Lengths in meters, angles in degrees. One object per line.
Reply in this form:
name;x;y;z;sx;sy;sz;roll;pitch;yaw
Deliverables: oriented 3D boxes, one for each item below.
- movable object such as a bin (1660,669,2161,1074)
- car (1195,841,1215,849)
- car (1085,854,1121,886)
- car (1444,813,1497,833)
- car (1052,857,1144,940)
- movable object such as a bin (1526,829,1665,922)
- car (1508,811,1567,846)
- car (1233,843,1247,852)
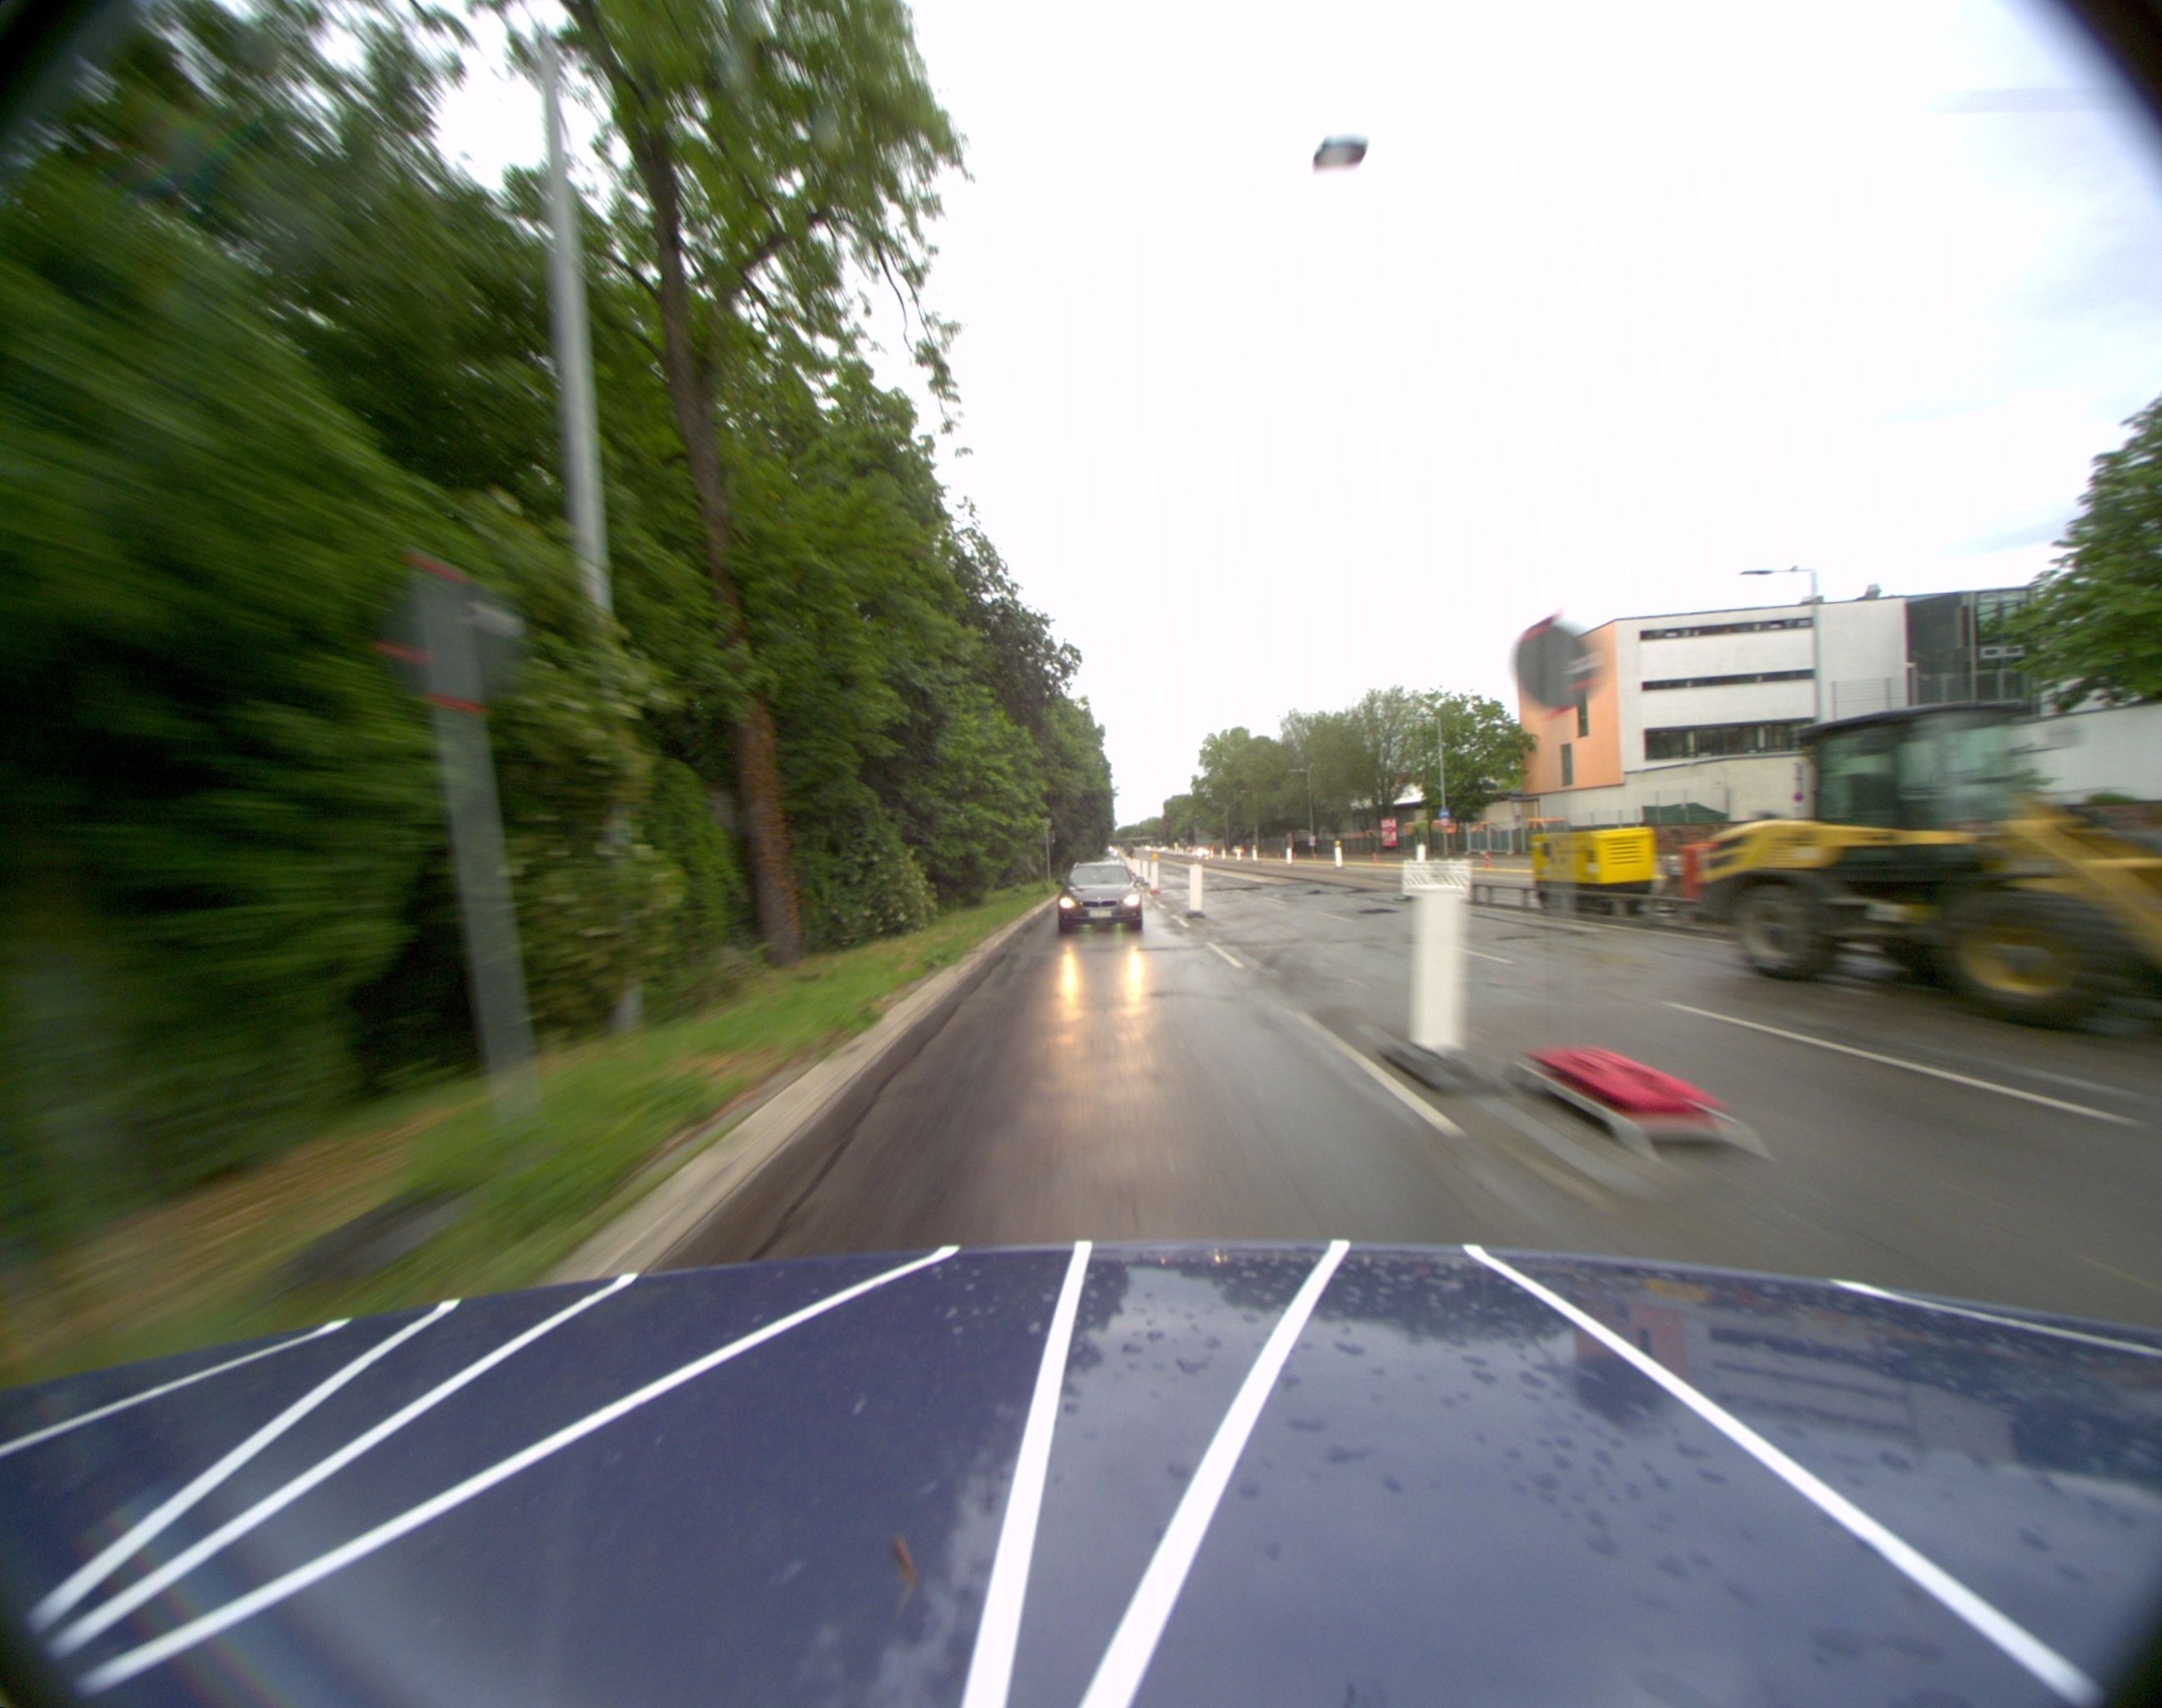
movable object such as a bin;7.945;0.071;6.534;1.906;2.594;5.383;-3;0;2
car;26.941;-1.980;165.547;1.868;1.620;4.318;-2;1;-31
car;1.225;0.793;40.635;1.742;1.454;4.458;-4;1;3
car;36.670;-2.911;71.587;4.012;1.519;2.004;-3;1;41
car;0.462;0.905;17.420;1.742;1.454;4.458;-4;1;3
movable object such as a bin;10.112;0.391;15.090;1.086;1.635;2.439;-3;0;2
car;31.058;-1.697;51.794;1.614;2.158;4.000;-3;0;2
car;26.835;-1.064;128.300;1.557;1.360;3.805;-2;1;2
